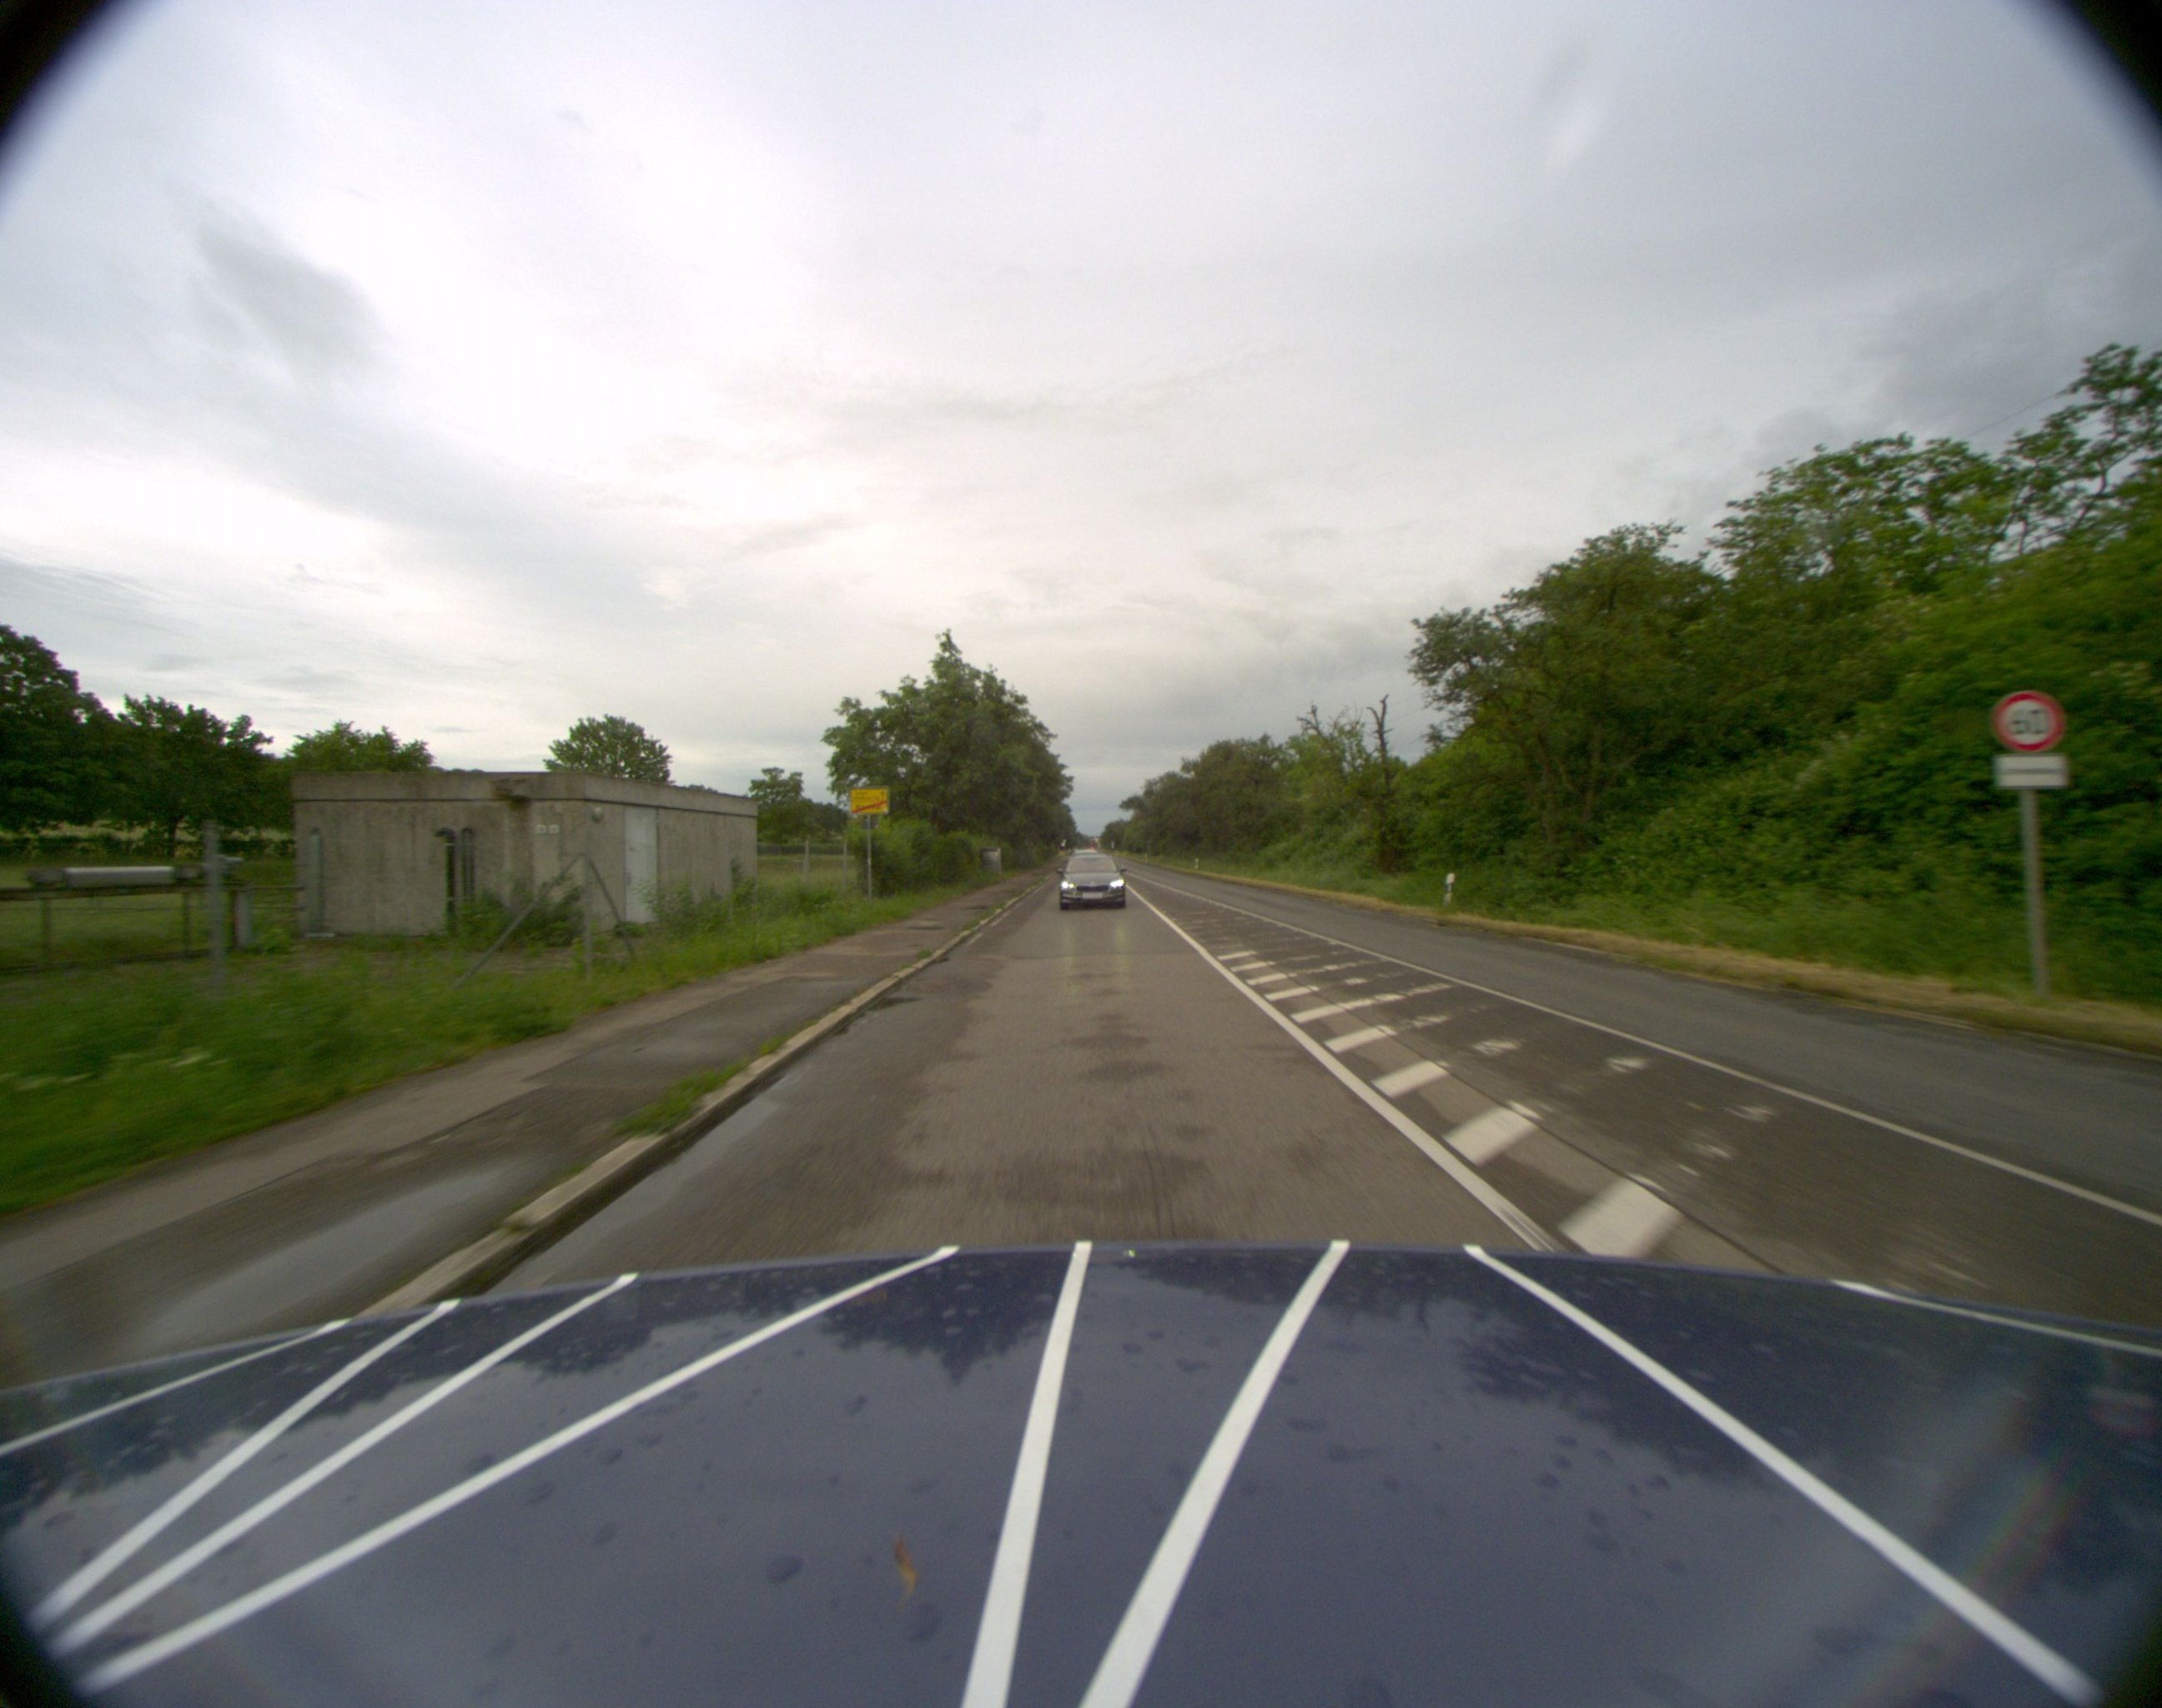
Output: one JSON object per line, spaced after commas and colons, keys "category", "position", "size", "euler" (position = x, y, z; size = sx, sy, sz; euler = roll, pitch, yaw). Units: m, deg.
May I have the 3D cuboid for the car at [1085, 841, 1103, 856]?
{"category": "car", "position": [1.477, -0.597, 84.898], "size": [1.887, 1.543, 3.475], "euler": [-3, 2, 0]}

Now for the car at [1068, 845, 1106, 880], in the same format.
{"category": "car", "position": [0.356, 0.428, 42.125], "size": [1.915, 1.691, 3.912], "euler": [-3, 2, 1]}

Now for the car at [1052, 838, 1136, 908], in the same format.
{"category": "car", "position": [0.324, 0.404, 20.078], "size": [1.915, 1.543, 4.353], "euler": [-3, 2, 0]}
